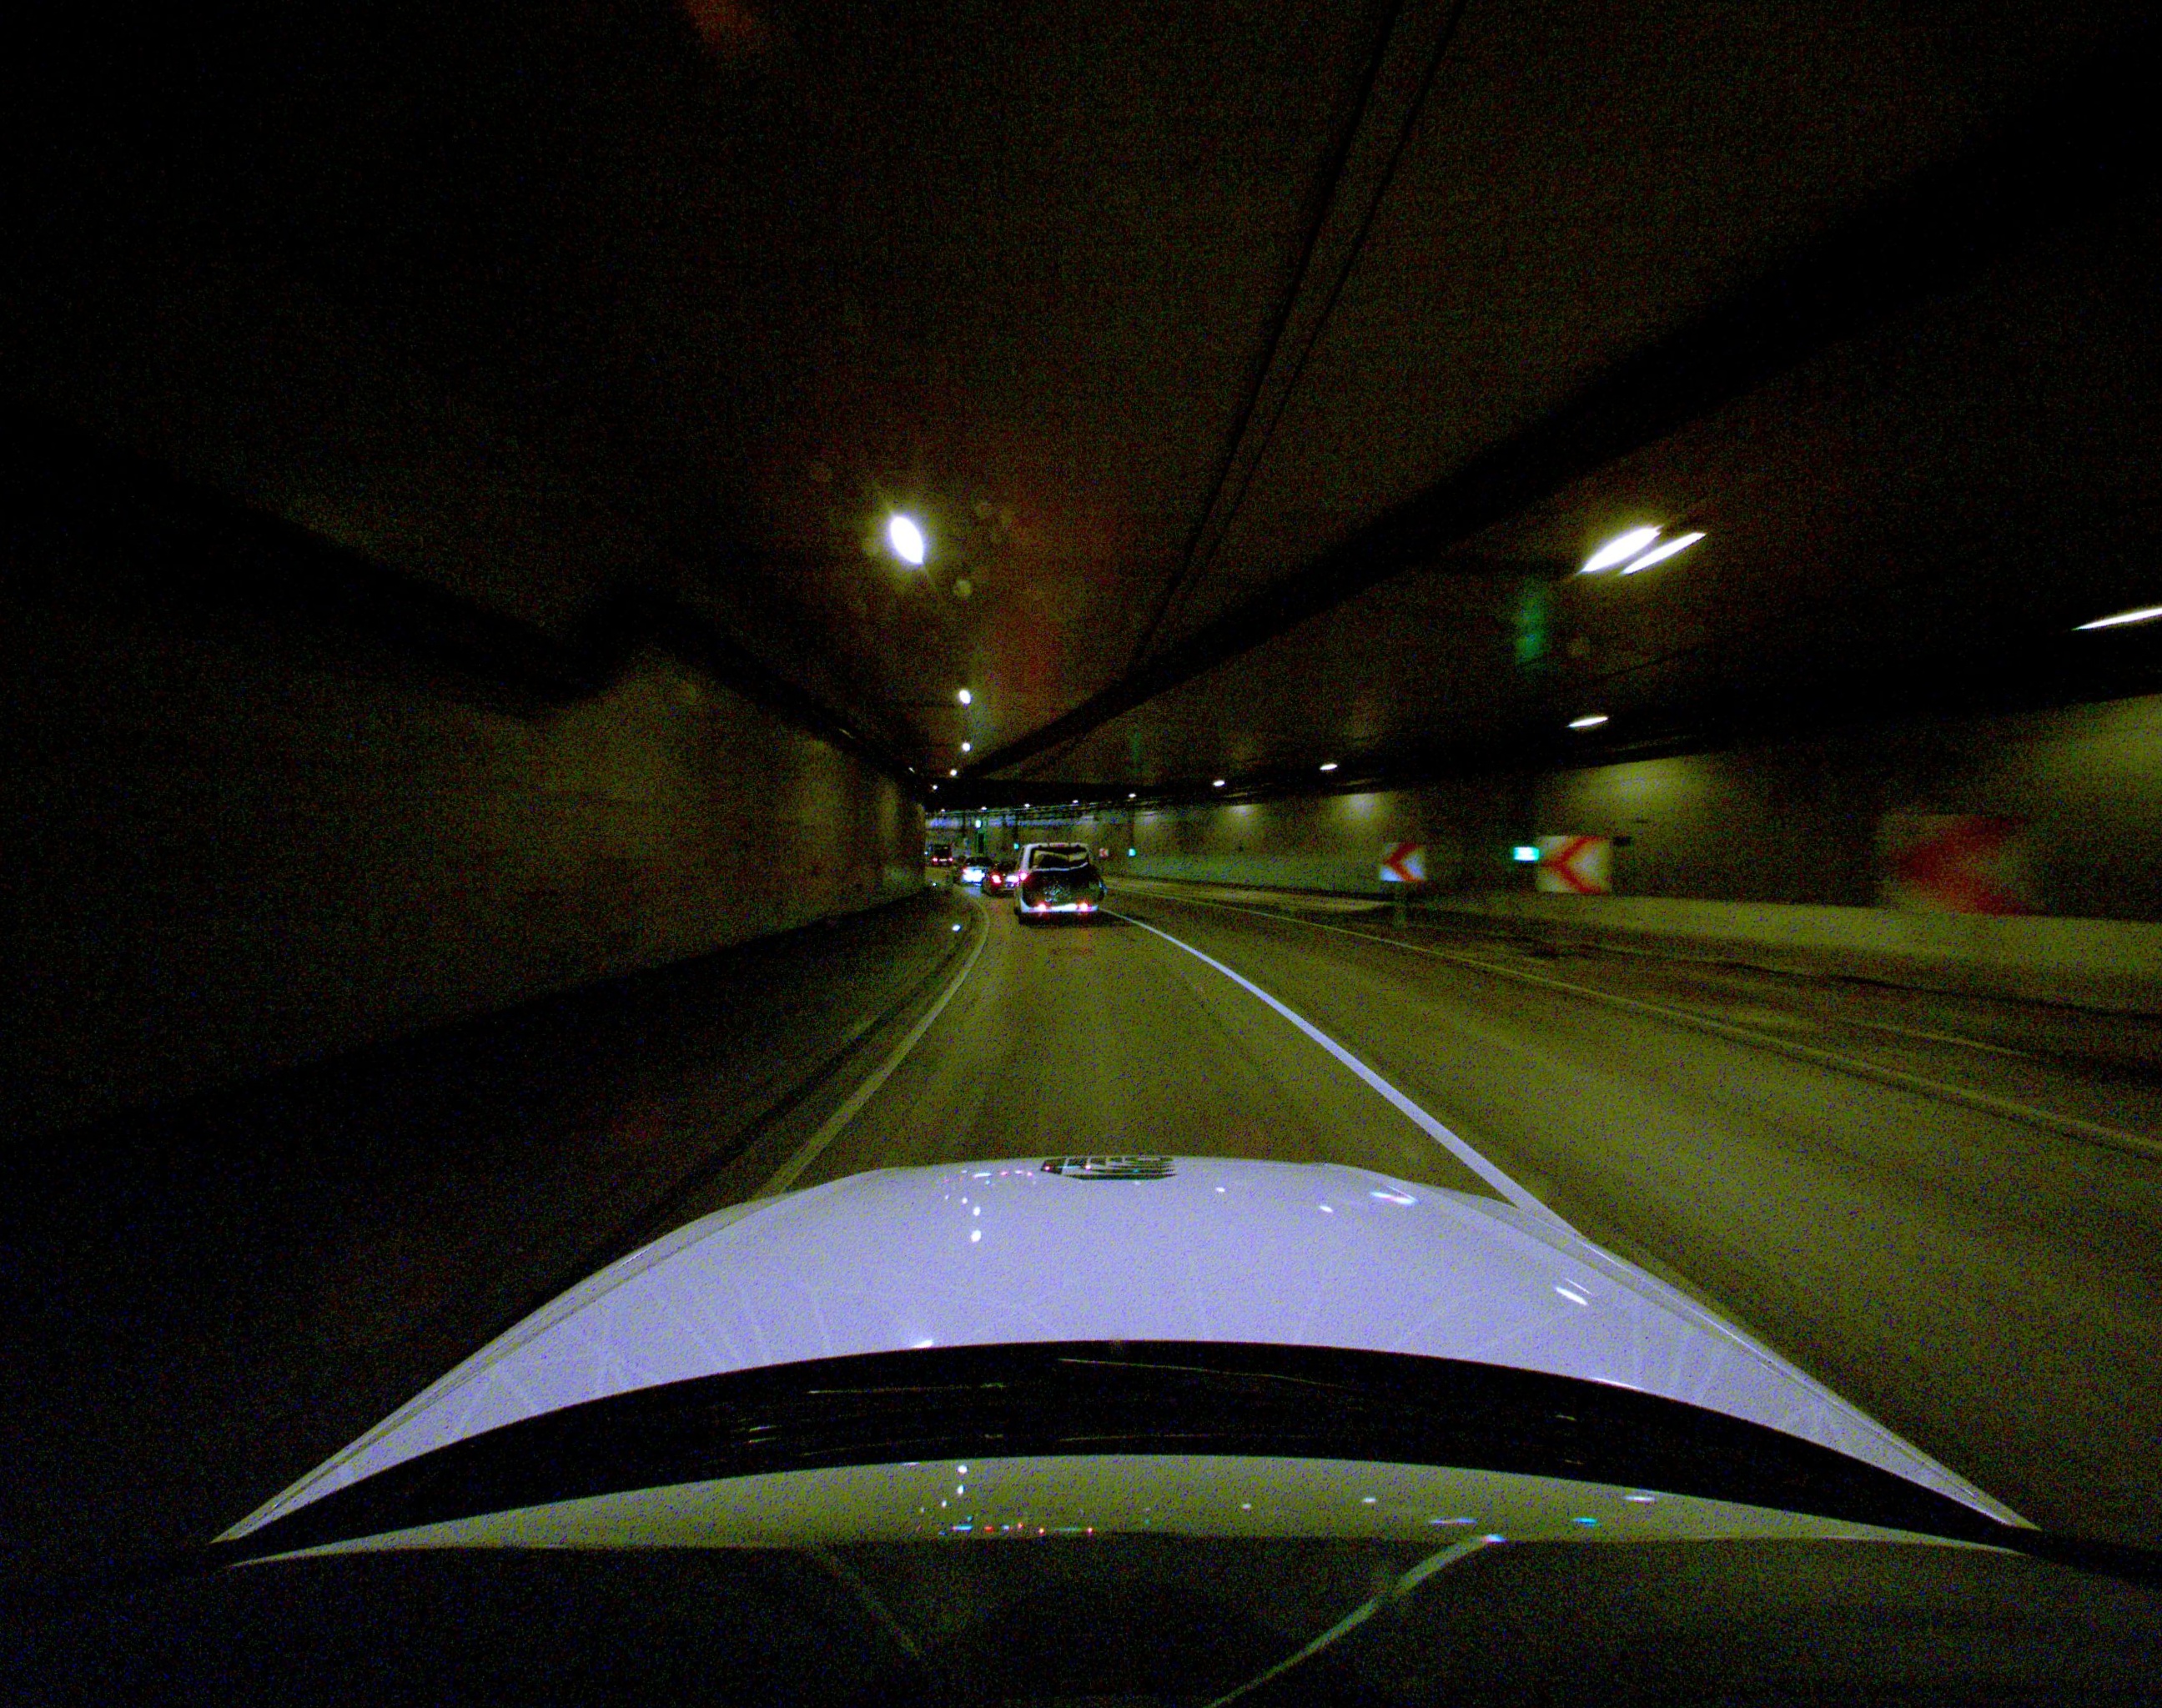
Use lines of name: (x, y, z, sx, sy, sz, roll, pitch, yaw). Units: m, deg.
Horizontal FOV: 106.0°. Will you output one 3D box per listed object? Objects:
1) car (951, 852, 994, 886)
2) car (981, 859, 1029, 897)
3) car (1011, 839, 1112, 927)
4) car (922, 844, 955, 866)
car: (-5.491, 0.751, 41.026, 1.606, 1.594, 3.336, 2, -1, -17)
car: (-3.057, 0.913, 32.319, 1.603, 1.395, 3.265, 0, 0, -11)
car: (-0.633, 0.628, 20.103, 1.991, 1.847, 5.288, -1, 0, -7)
car: (-11.012, 0.093, 62.644, 1.611, 1.630, 3.326, -2, 0, -26)
